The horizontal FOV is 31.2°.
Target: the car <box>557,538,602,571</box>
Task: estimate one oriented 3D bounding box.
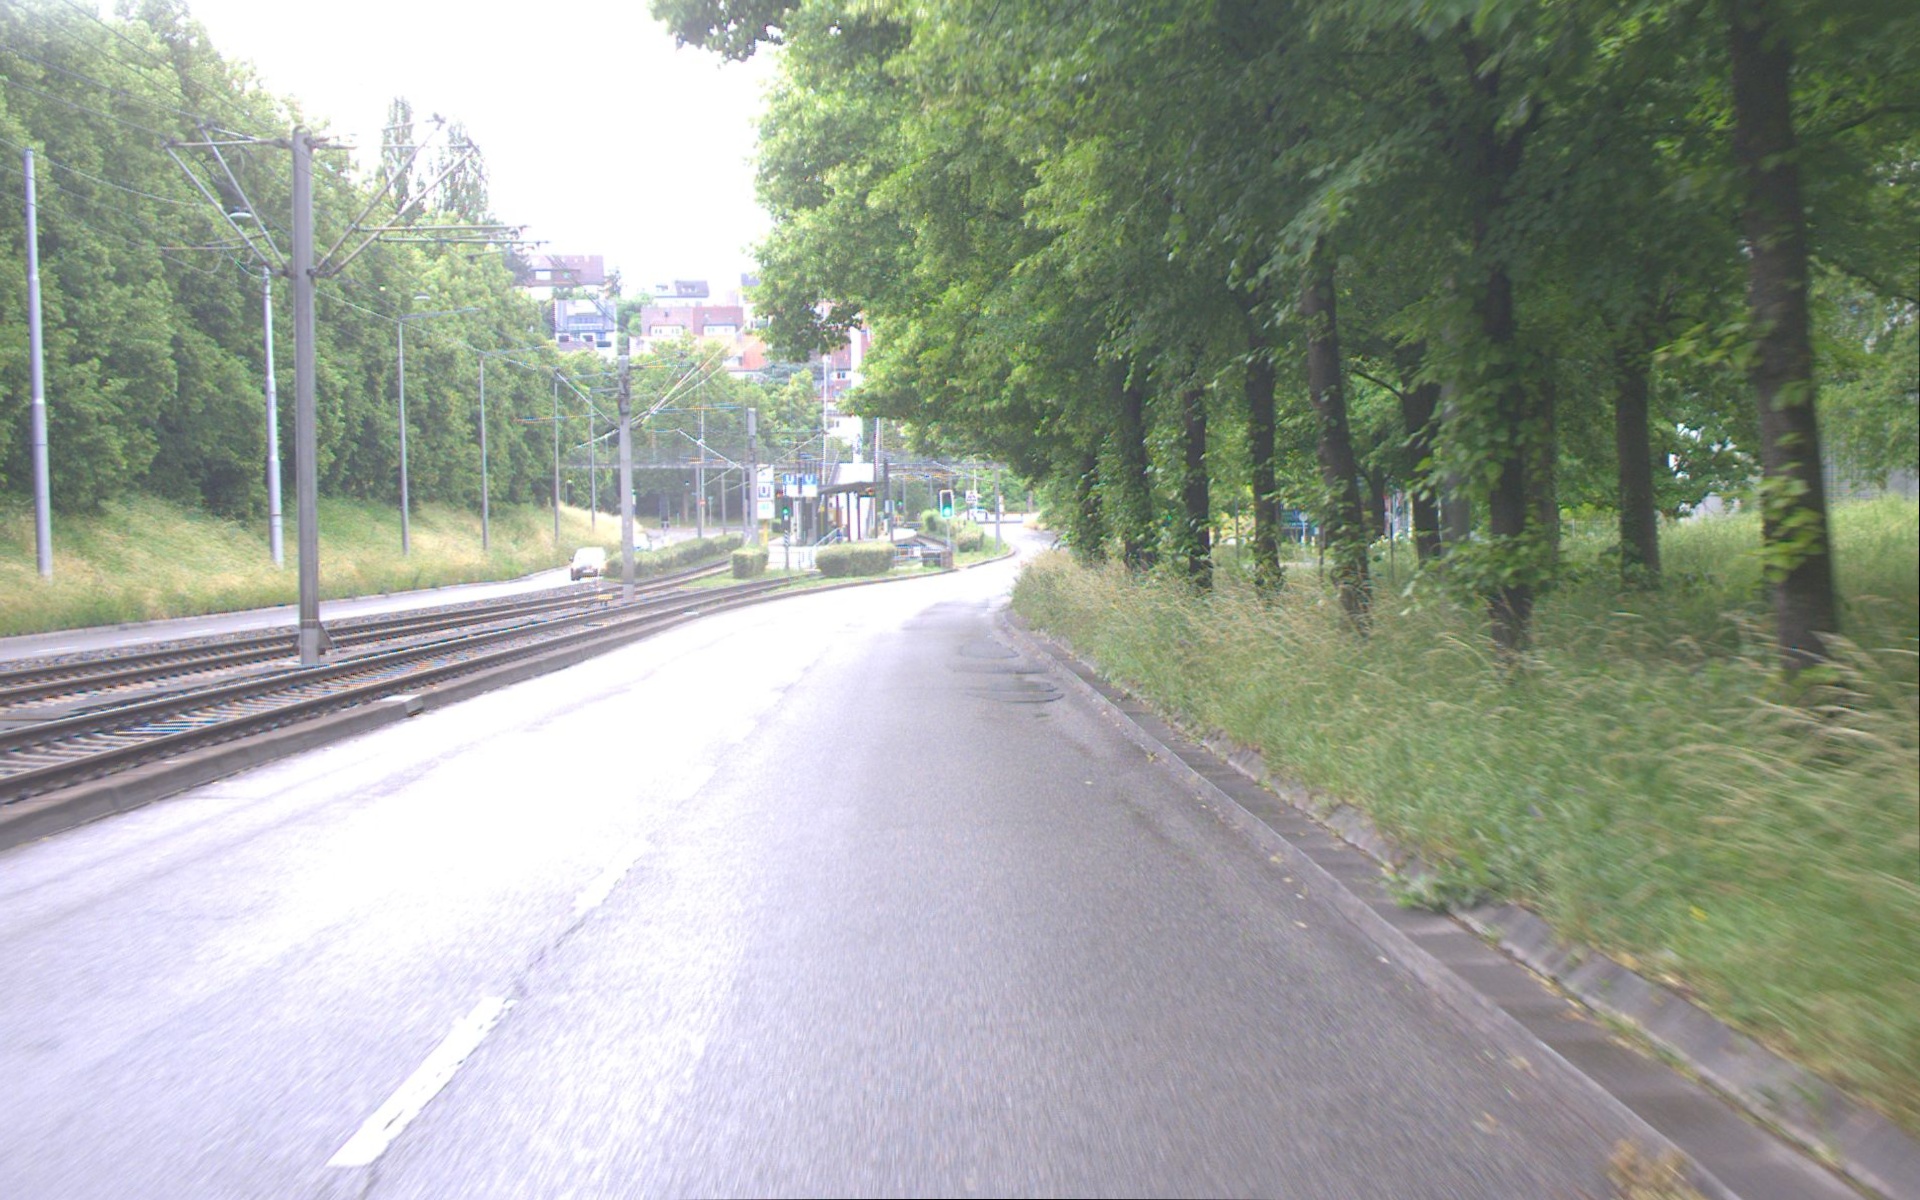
[{"bbox_3d":[-17.519,-2.089,158.536,1.669,1.438,4.027,-3,1,-1],"label":"car"}]

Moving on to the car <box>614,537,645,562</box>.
[{"bbox_3d":[-21.458,-3.292,223.233,1.784,1.546,3.962,-2,1,-3],"label":"car"}]
